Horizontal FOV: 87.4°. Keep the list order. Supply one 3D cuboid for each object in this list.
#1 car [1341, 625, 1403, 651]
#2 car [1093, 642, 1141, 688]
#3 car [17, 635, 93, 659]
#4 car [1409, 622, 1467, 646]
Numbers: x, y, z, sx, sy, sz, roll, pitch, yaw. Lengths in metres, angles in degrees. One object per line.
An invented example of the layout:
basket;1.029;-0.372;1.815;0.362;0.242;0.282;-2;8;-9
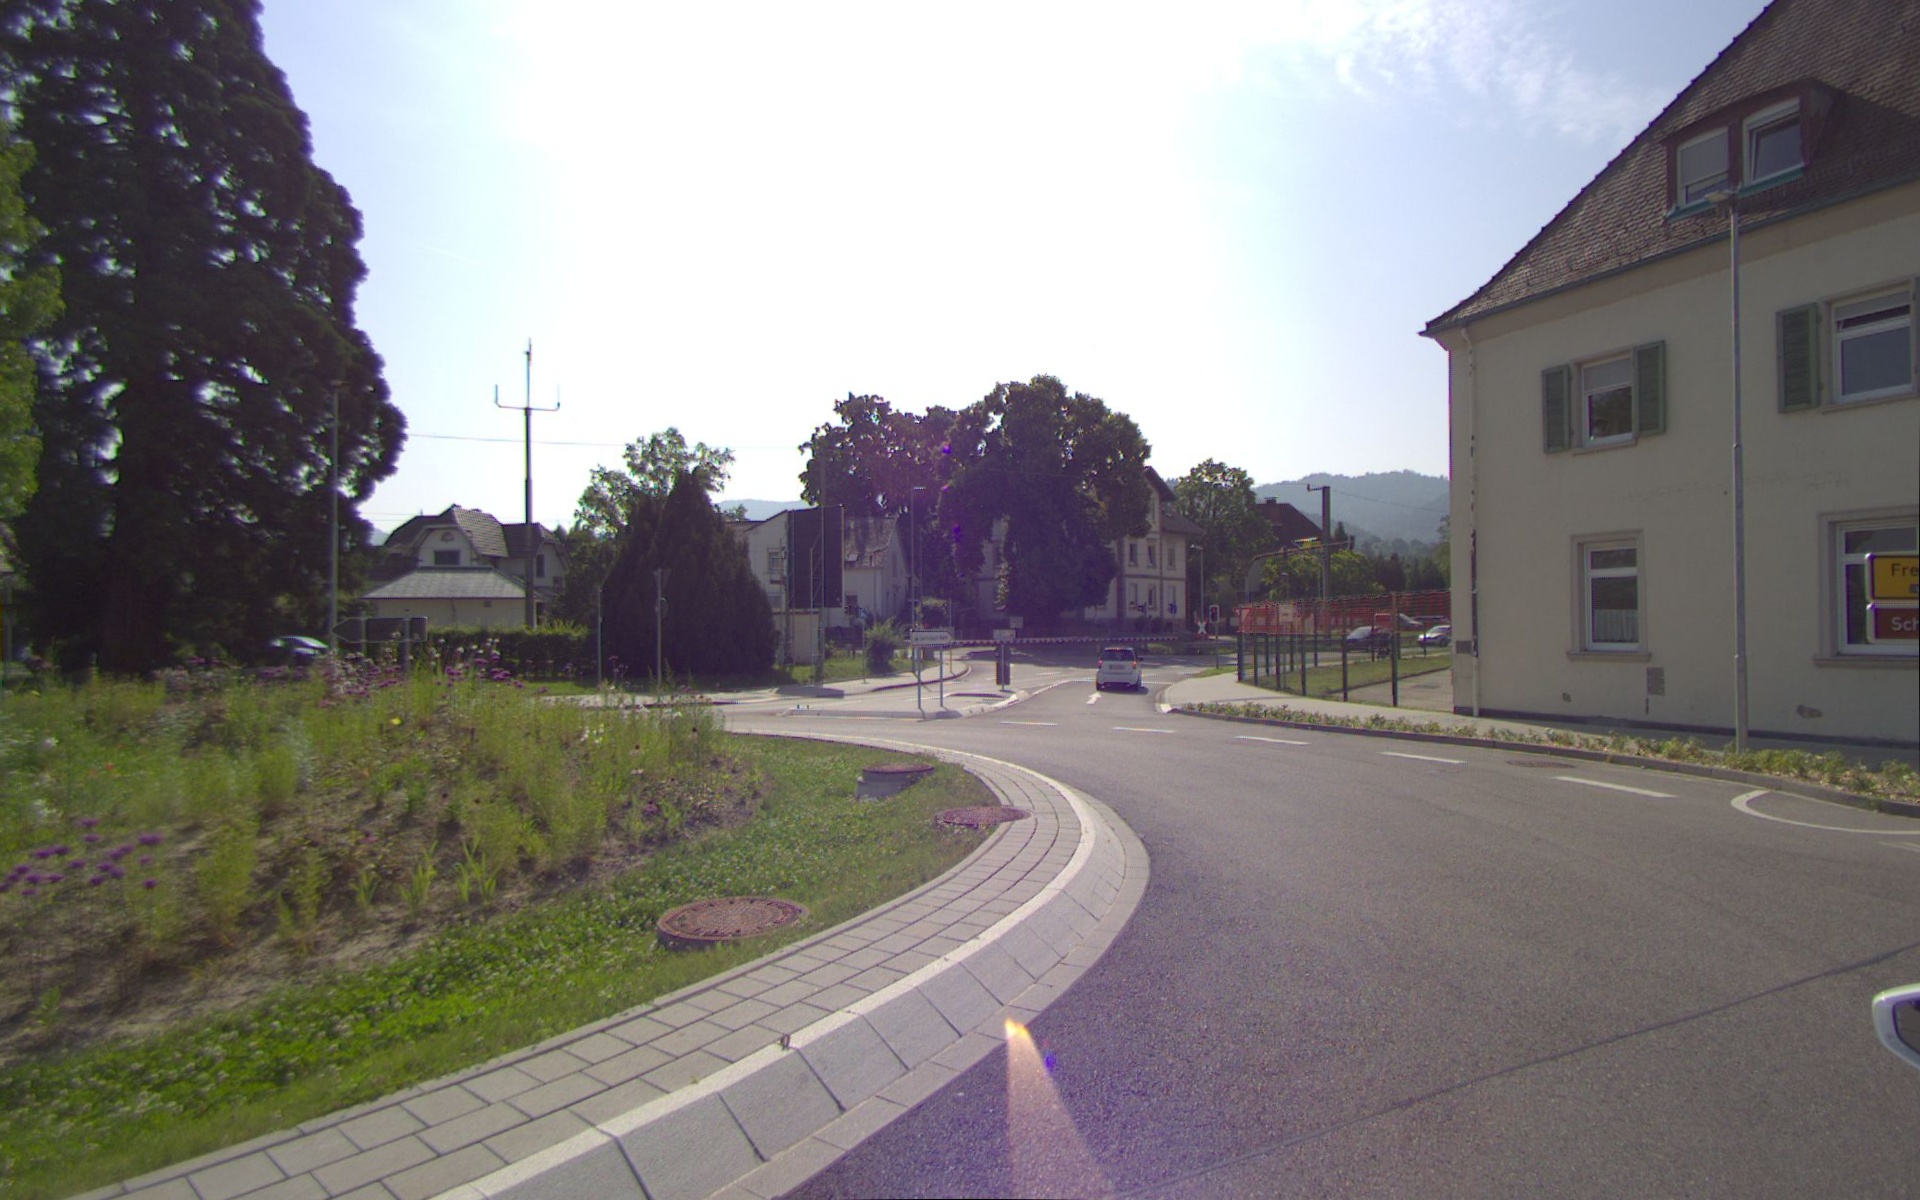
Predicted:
car;25.471;2.305;62.048;3.959;1.416;1.698;-1;1;-34
car;5.960;2.418;38.116;1.679;1.416;4.002;0;1;9
car;-48.496;2.509;53.891;1.354;1.112;3.183;1;1;-5
car;31.812;2.223;66.817;3.959;1.416;1.698;-1;1;-34
